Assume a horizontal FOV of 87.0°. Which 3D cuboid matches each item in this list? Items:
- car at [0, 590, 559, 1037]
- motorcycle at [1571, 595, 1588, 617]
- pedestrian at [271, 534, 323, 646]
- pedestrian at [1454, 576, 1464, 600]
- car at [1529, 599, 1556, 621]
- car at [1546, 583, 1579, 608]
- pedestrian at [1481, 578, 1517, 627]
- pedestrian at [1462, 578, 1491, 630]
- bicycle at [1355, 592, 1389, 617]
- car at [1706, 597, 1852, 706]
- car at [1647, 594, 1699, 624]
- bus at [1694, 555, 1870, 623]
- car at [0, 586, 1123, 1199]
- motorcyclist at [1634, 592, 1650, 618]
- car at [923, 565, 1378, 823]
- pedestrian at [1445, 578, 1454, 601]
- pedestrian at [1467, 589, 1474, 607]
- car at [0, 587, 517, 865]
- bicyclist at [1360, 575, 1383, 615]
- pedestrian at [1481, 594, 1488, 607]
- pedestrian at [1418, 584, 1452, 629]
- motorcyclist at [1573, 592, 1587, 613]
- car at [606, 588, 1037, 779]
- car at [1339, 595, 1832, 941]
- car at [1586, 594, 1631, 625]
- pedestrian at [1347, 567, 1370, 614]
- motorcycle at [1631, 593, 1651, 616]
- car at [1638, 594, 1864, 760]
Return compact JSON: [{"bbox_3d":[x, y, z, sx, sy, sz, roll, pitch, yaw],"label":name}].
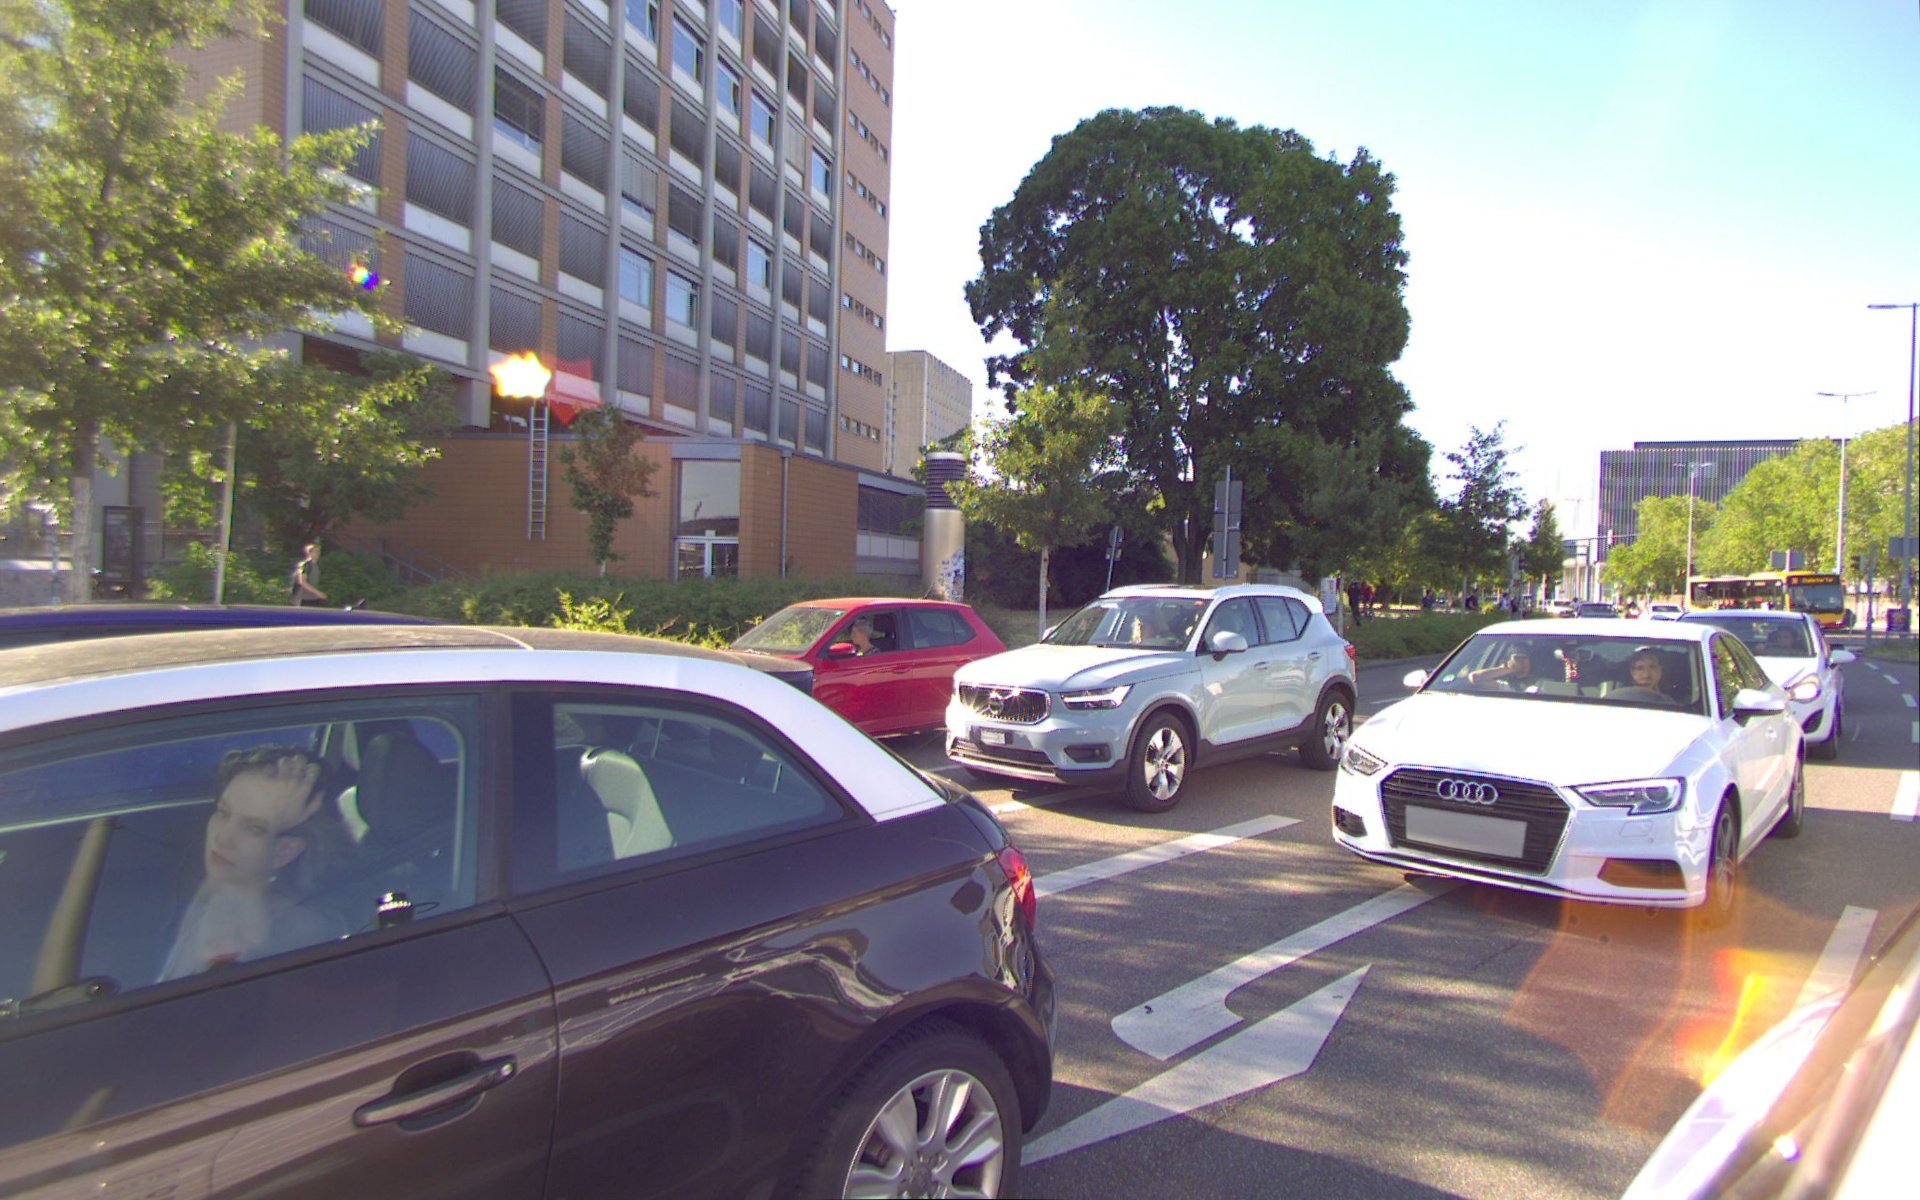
[{"bbox_3d":[-3.752,0.687,3.727,3.930,1.422,1.626,-1,0,-41],"label":"car"},{"bbox_3d":[38.769,0.380,63.354,0.711,1.321,2.213,0,0,28],"label":"motorcycle"},{"bbox_3d":[-11.505,-0.174,17.584,0.681,1.910,0.465,0,0,-24],"label":"pedestrian"},{"bbox_3d":[34.008,-0.826,68.982,0.543,1.627,0.598,0,0,30],"label":"pedestrian"},{"bbox_3d":[48.945,0.850,85.121,1.730,1.727,3.962,2,1,27],"label":"car"},{"bbox_3d":[43.746,-0.368,73.557,1.730,1.727,3.962,2,1,27],"label":"car"},{"bbox_3d":[22.886,0.109,42.955,1.137,2.039,1.268,0,0,39],"label":"pedestrian"},{"bbox_3d":[20.539,0.147,40.238,0.891,2.039,0.870,0,0,39],"label":"pedestrian"},{"bbox_3d":[16.848,0.175,41.386,0.657,0.975,2.005,2,2,41],"label":"bicycle"},{"bbox_3d":[13.119,0.711,16.128,1.622,1.478,3.981,0,0,42],"label":"car"},{"bbox_3d":[37.100,0.441,52.731,1.741,1.478,4.146,0,0,29],"label":"car"},{"bbox_3d":[43.825,-0.596,54.634,3.046,3.252,12.472,0,0,18],"label":"bus"},{"bbox_3d":[-1.636,0.695,1.652,3.930,1.422,1.626,-1,0,-41],"label":"car"},{"bbox_3d":[41.833,0.310,62.062,0.704,1.610,0.684,0,0,26],"label":"motorcyclist"},{"bbox_3d":[1.782,0.570,8.466,4.153,1.641,1.625,-1,0,-43],"label":"car"},{"bbox_3d":[33.496,-0.696,69.234,0.543,1.549,0.598,0,0,30],"label":"pedestrian"},{"bbox_3d":[50.350,-0.181,99.864,0.475,1.706,0.399,1,1,-41],"label":"pedestrian"},{"bbox_3d":[-5.240,0.639,6.068,4.434,1.422,1.725,-1,0,-42],"label":"car"},{"bbox_3d":[16.816,-0.203,41.333,0.615,1.580,0.858,0,0,41],"label":"bicyclist"},{"bbox_3d":[50.539,0.066,97.478,0.487,1.254,0.439,1,1,-41],"label":"pedestrian"},{"bbox_3d":[18.654,0.235,39.746,1.005,1.742,0.873,0,0,39],"label":"pedestrian"},{"bbox_3d":[38.763,0.159,63.282,0.711,1.321,0.728,0,0,28],"label":"motorcyclist"},{"bbox_3d":[-1.183,0.632,9.851,3.974,1.478,1.625,-1,0,-43],"label":"car"},{"bbox_3d":[3.954,0.691,6.126,3.769,1.422,1.625,-1,0,-43],"label":"car"},{"bbox_3d":[32.091,0.436,50.027,1.745,1.478,4.137,0,0,34],"label":"car"},{"bbox_3d":[14.065,-0.337,35.696,0.593,1.615,0.586,0,0,41],"label":"pedestrian"},{"bbox_3d":[41.866,0.265,62.211,0.711,1.321,2.215,0,0,26],"label":"motorcycle"},{"bbox_3d":[8.881,0.690,11.232,1.623,1.478,3.979,0,0,43],"label":"car"}]
